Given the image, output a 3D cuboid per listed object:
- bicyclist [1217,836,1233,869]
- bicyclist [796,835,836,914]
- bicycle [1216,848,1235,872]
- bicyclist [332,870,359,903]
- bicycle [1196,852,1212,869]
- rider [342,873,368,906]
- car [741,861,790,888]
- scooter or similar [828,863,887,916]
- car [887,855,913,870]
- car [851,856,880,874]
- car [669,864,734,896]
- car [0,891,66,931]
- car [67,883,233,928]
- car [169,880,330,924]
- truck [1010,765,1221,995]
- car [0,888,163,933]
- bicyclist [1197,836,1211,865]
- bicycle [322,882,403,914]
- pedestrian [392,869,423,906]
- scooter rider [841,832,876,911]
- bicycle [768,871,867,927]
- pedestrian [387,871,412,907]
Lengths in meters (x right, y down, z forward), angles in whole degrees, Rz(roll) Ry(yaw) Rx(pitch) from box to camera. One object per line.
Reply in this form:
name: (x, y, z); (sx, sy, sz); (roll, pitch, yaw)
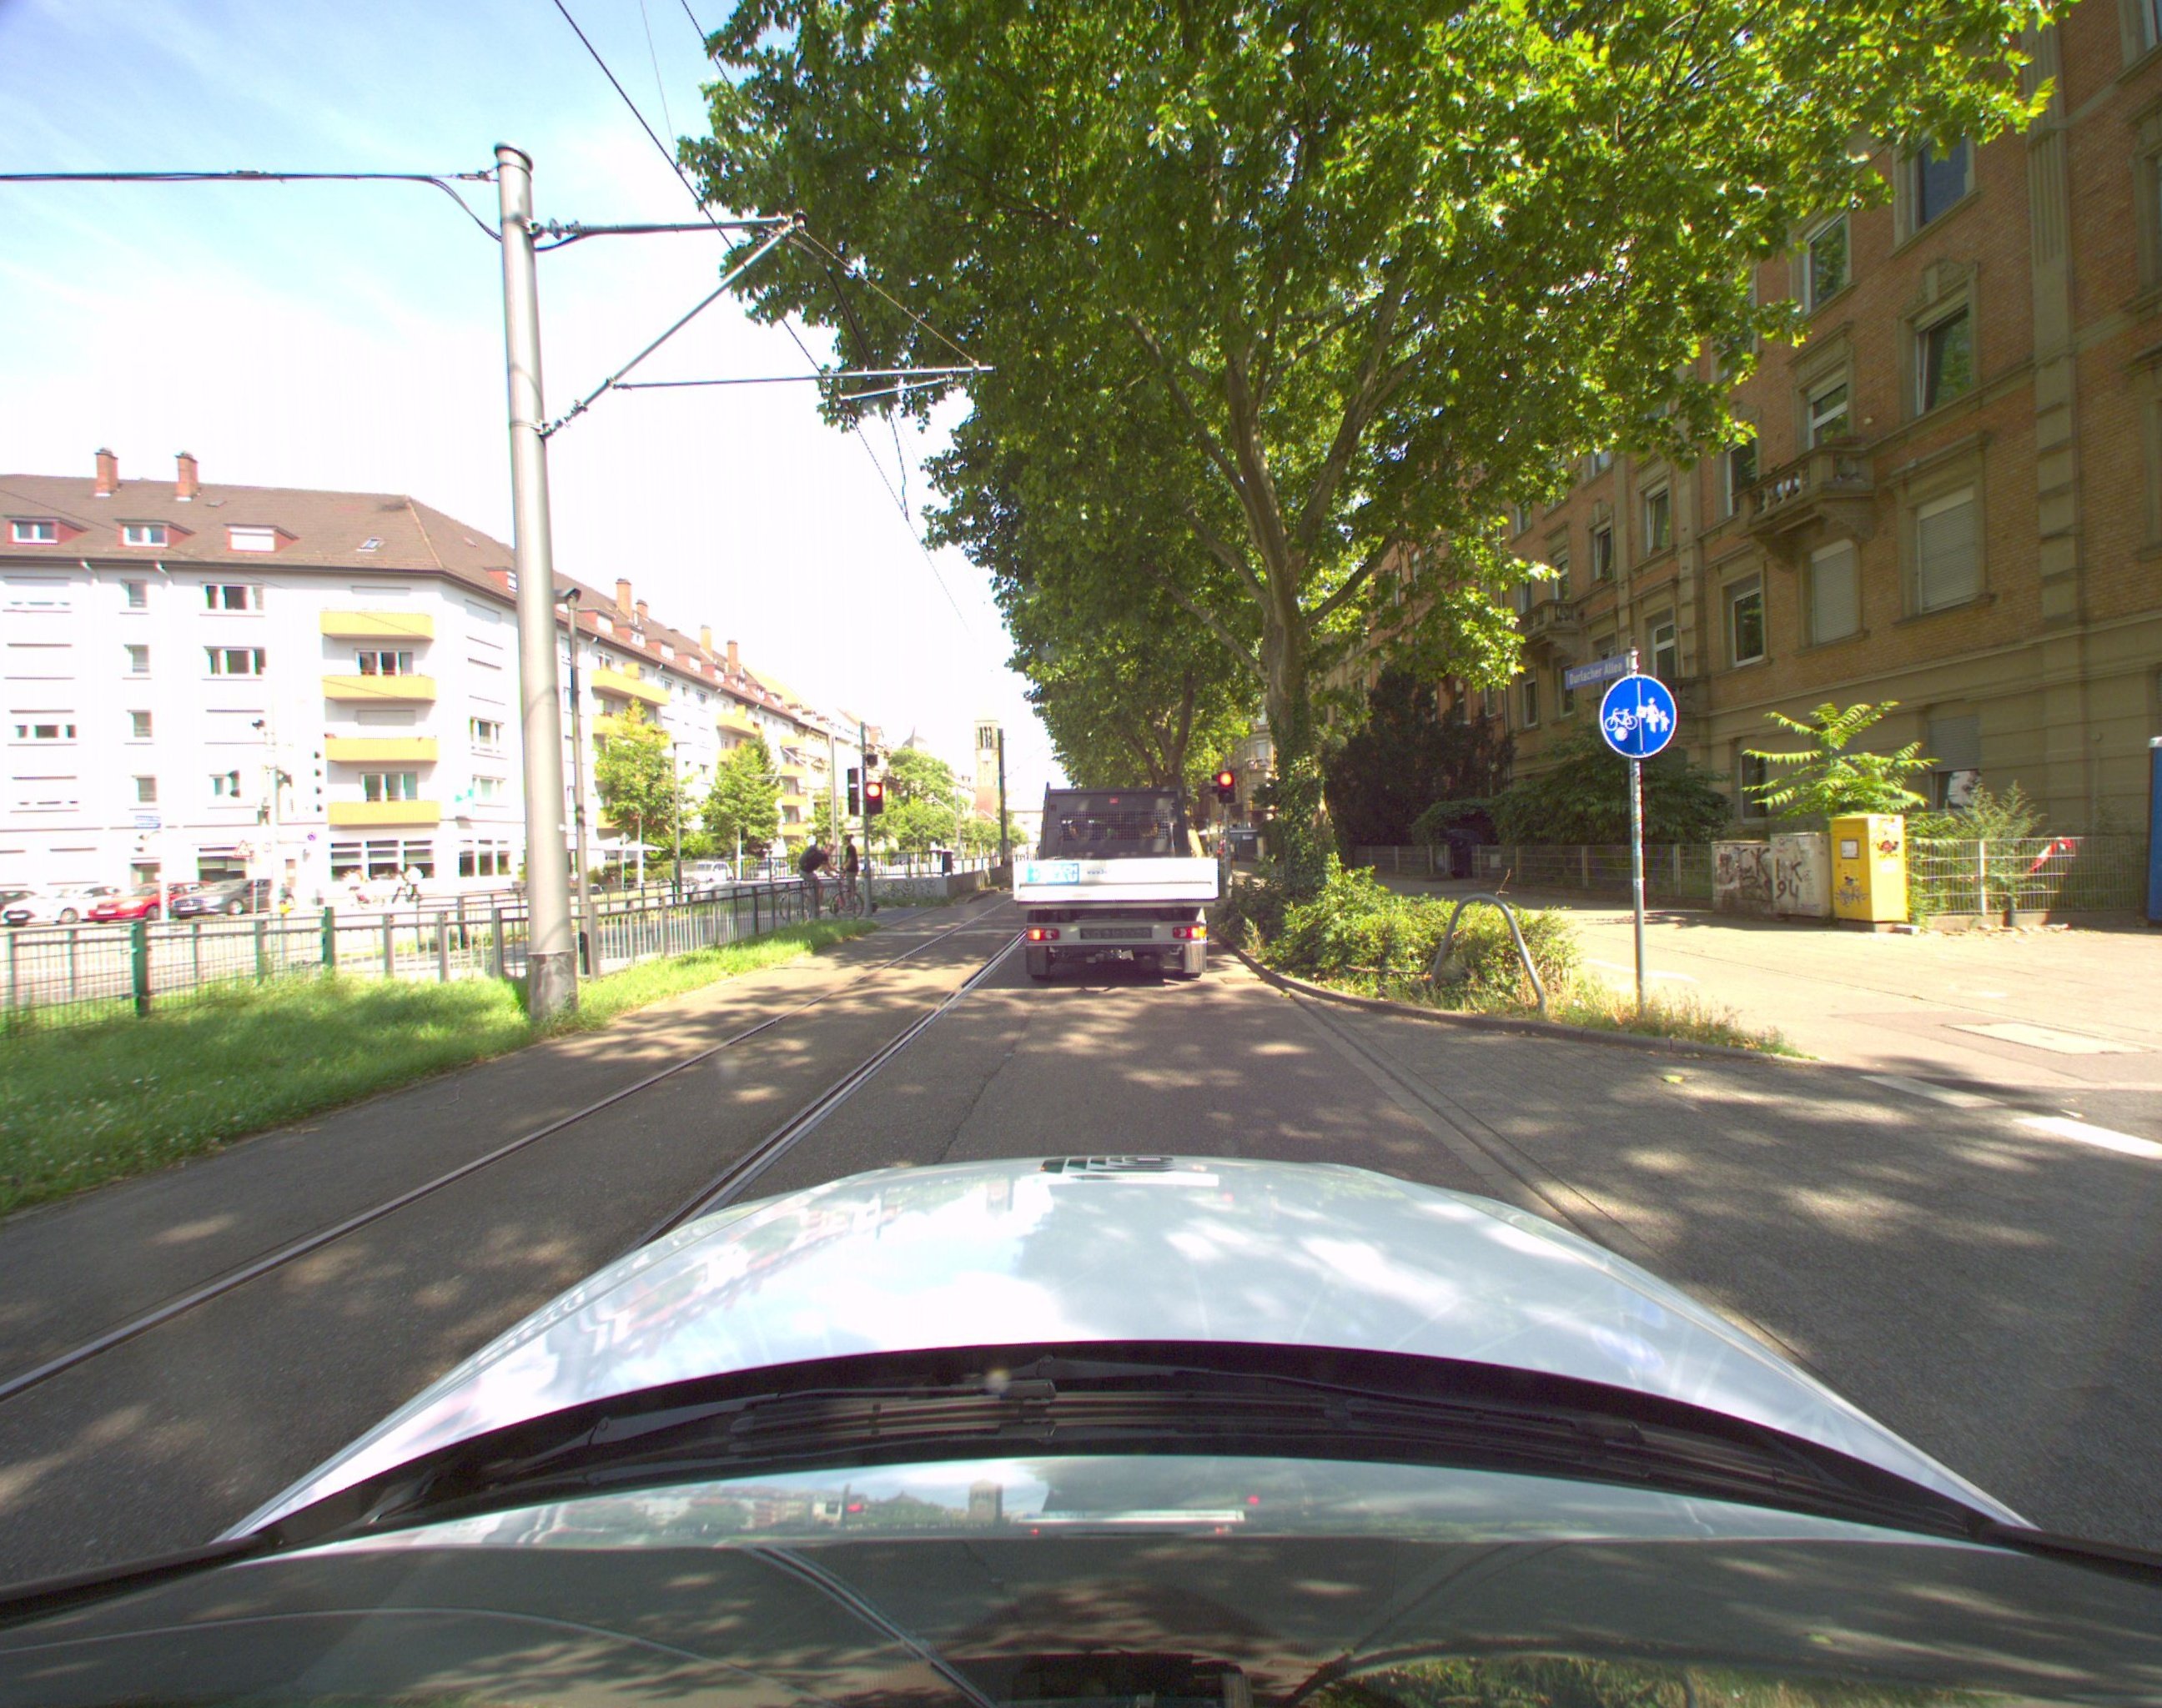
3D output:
bicyclist: (6.999, -0.060, 39.494); (0.635, 1.573, 0.580); (-2, 0, 3)
bicyclist: (-5.629, 0.430, 17.287); (0.696, 1.623, 0.619); (-2, 0, -25)
bicycle: (7.015, 0.279, 39.601); (0.563, 1.112, 2.312); (-2, 0, 3)
bicyclist: (-32.427, 1.438, 35.918); (0.624, 1.423, 0.587); (-2, 0, -15)
bicycle: (6.958, 0.352, 46.132); (0.672, 0.881, 2.165); (-2, 0, 3)
rider: (-32.523, 1.586, 36.509); (0.624, 1.423, 0.587); (-2, 0, -15)
car: (-20.277, 1.300, 52.502); (1.767, 1.498, 3.994); (-4, 0, -4)
scooter or similar: (-5.450, 0.845, 19.848); (1.273, 1.204, 0.652); (-2, 0, -26)
car: (-19.459, 0.879, 87.722); (1.764, 1.498, 4.000); (-2, 0, 0)
car: (-19.597, 0.963, 74.352); (1.767, 1.498, 3.994); (-2, 0, -4)
car: (-20.502, 1.356, 44.131); (1.767, 1.498, 3.994); (-4, 0, -4)
car: (-41.817, 2.243, 30.736); (1.930, 1.406, 4.158); (-2, 0, -6)
car: (-36.480, 1.979, 32.111); (1.930, 1.406, 4.158); (-2, 0, -6)
car: (-33.122, 1.851, 32.686); (1.830, 1.376, 4.637); (-2, 0, -4)
truck: (0.451, 0.249, 10.432); (2.130, 2.319, 4.405); (0, 0, 3)
car: (-39.264, 2.164, 31.942); (1.930, 1.406, 4.158); (-2, 0, -6)
bicyclist: (6.927, -0.198, 45.977); (0.678, 1.563, 0.777); (-2, 0, 3)
bicycle: (-30.059, 1.802, 34.152); (0.908, 1.137, 2.807); (-2, 0, -2)
pedestrian: (-30.290, 1.489, 36.618); (0.861, 1.572, 0.685); (-2, 0, -22)
scooter rider: (-5.436, 0.409, 19.863); (0.670, 1.867, 0.658); (-2, 0, -26)
bicycle: (-5.583, 0.934, 17.293); (1.929, 1.049, 0.528); (-2, 0, -25)
pedestrian: (-30.119, 1.537, 36.001); (0.690, 1.572, 0.542); (-2, 0, -22)
